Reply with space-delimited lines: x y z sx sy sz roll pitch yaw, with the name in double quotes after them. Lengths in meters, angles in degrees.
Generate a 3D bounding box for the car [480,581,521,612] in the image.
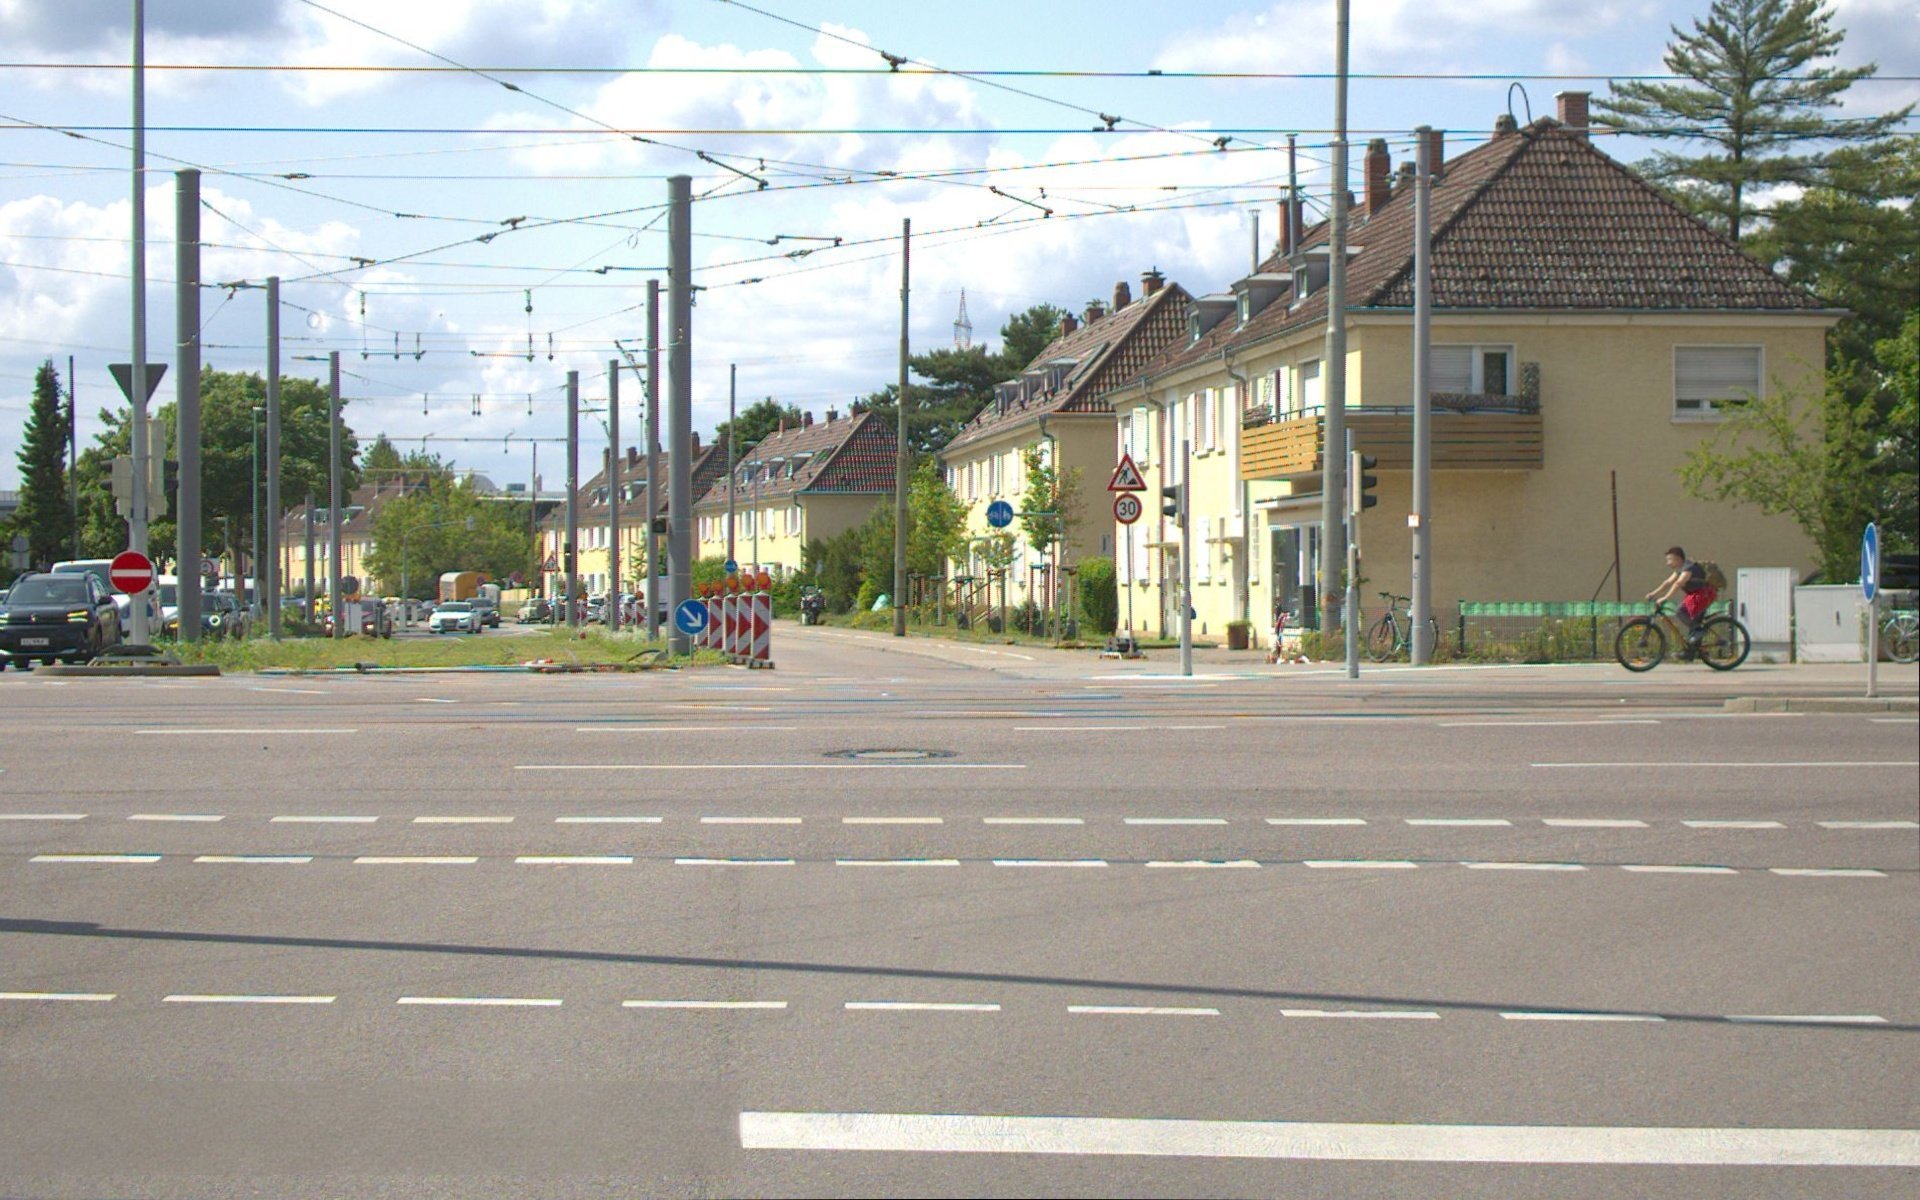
-23.619 -0.195 176.949 1.819 1.546 4.001 0 1 -4 "car"

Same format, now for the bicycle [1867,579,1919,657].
13.794 0.251 48.510 1.806 1.101 0.701 0 0 39 "bicycle"

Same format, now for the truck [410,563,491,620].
-32.305 -0.525 217.544 2.640 3.482 9.439 0 0 -24 "truck"

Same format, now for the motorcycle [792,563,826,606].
-5.811 -0.596 132.069 1.066 1.630 2.084 0 0 -8 "motorcycle"

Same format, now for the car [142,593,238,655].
-18.070 0.542 80.806 1.914 1.414 4.001 0 0 -8 "car"

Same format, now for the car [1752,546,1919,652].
14.429 0.010 55.407 1.821 1.615 4.001 0 -1 -10 "car"

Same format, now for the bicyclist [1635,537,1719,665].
10.020 0.008 48.056 0.957 1.769 0.720 0 0 -7 "bicyclist"

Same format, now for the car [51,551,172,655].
-16.250 0.050 65.986 1.814 1.915 4.749 0 0 -9 "car"

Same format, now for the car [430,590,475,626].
-22.125 0.333 150.016 1.843 1.556 4.188 0 0 -7 "car"

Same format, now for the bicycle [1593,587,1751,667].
9.901 0.371 47.815 2.026 1.098 0.715 0 0 -7 "bicycle"

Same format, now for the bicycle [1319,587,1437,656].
6.759 0.339 55.662 0.593 1.093 2.277 0 0 -32 "bicycle"

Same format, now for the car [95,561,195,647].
-17.477 0.078 73.858 1.732 1.776 4.406 -1 0 -9 "car"

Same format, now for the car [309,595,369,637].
-22.387 0.563 124.033 1.843 1.489 4.857 0 0 -7 "car"

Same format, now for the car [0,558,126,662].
-15.640 0.139 59.570 1.786 1.715 4.442 0 1 -7 "car"

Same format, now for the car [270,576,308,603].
-48.382 -0.753 247.875 1.993 1.904 4.001 -1 1 -22 "car"

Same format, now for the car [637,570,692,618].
-13.548 -0.283 157.288 2.065 2.142 4.879 0 0 -10 "car"
